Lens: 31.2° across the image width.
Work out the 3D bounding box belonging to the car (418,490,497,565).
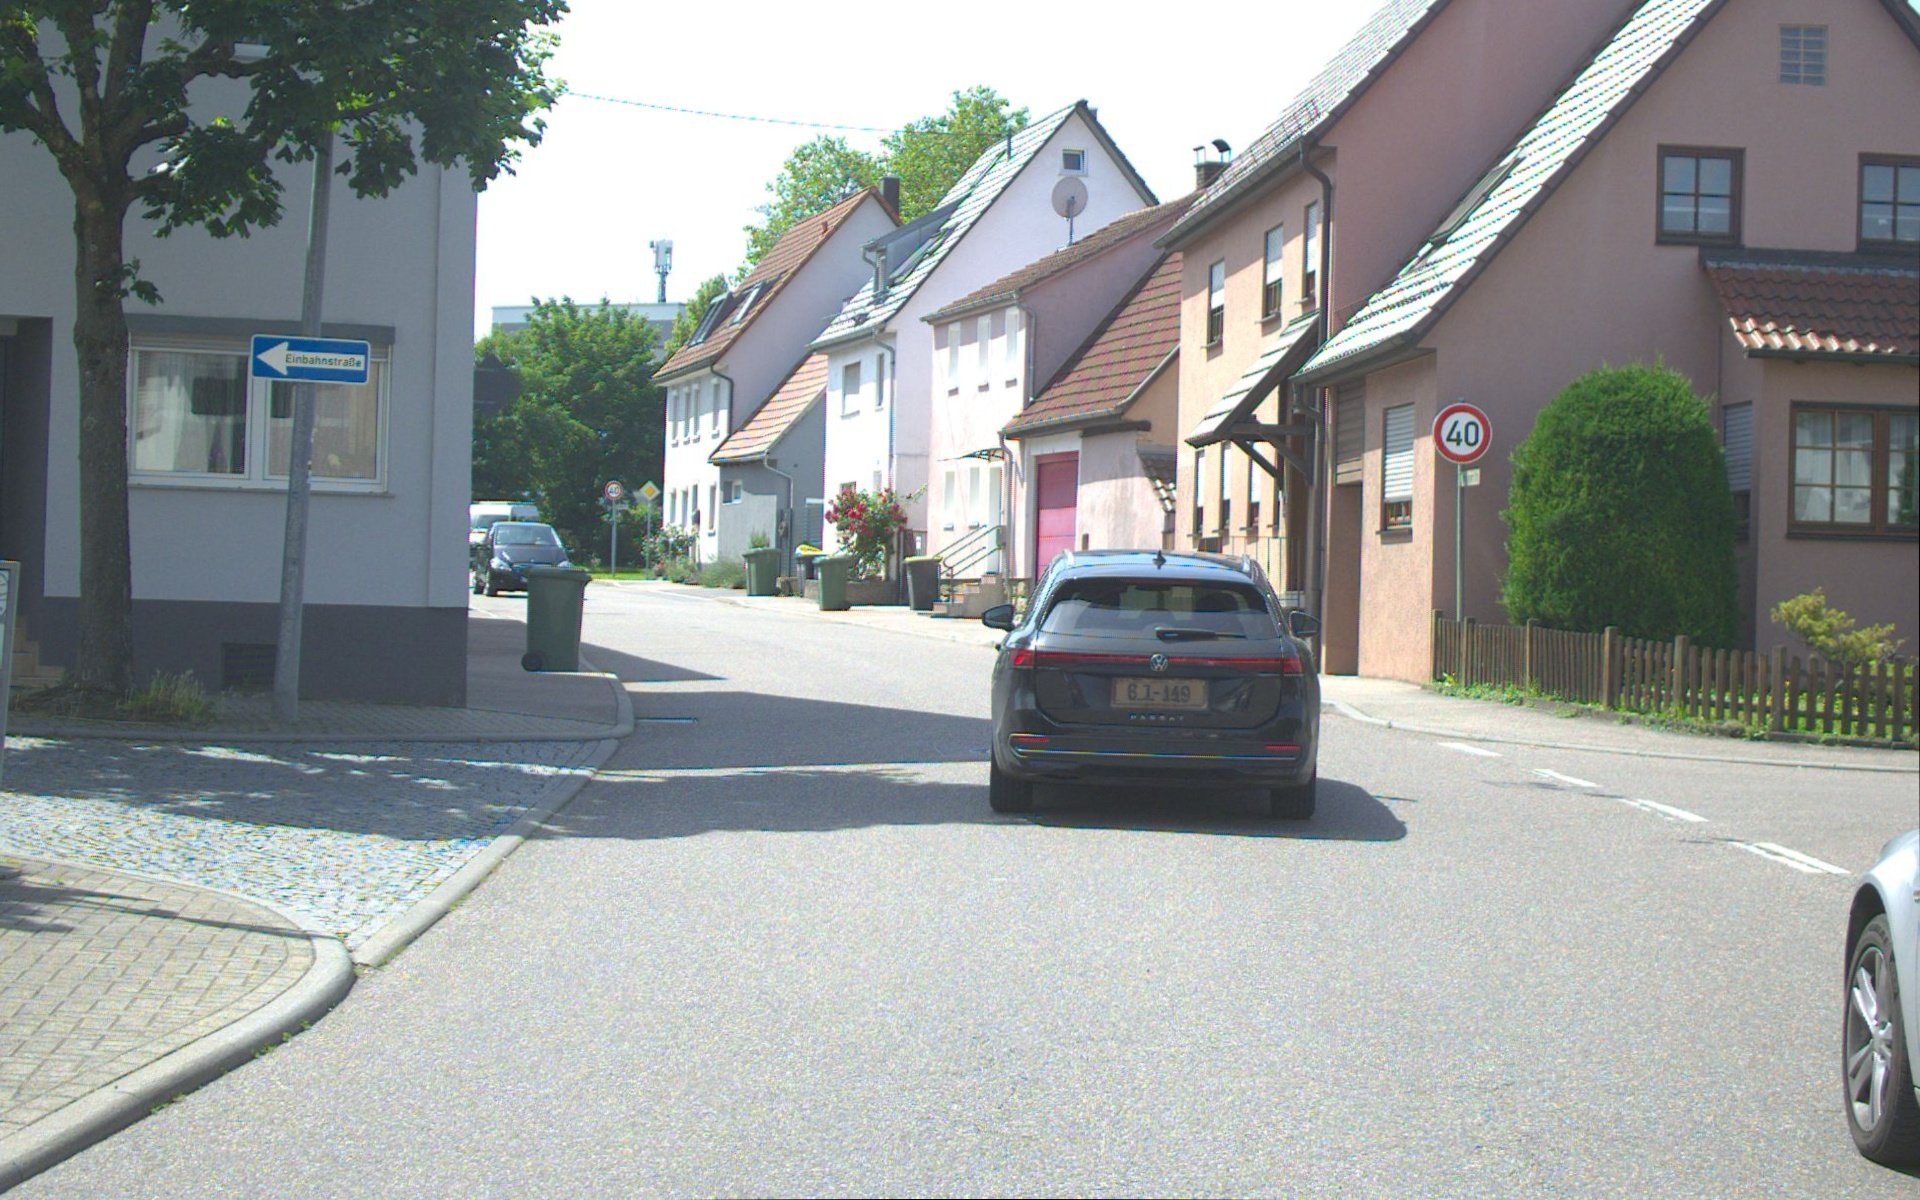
[{"bbox_3d":[-17.753,-2.585,121.723,2.114,2.554,5.828,1,2,-2],"label":"car"}]

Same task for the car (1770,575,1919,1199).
[{"bbox_3d":[3.093,0.745,7.170,1.785,1.437,4.337,3,1,1],"label":"car"}]

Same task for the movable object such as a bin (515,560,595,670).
[{"bbox_3d":[-4.066,0.141,34.513,0.753,1.056,0.680,2,2,-7],"label":"movable object such as a bin"}]

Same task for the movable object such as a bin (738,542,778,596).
[{"bbox_3d":[-4.502,-0.687,76.538,0.678,1.151,0.820,2,1,-17],"label":"movable object such as a bin"}]

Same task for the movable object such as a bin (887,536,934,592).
[{"bbox_3d":[-0.964,-0.699,66.850,0.678,1.046,0.835,-3,2,-17],"label":"movable object such as a bin"}]

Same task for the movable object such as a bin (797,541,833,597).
[{"bbox_3d":[-3.193,-0.686,75.741,0.664,1.190,0.588,2,1,-13],"label":"movable object such as a bin"}]

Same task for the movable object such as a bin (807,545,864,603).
[{"bbox_3d":[-2.453,-0.520,67.510,0.875,1.071,0.873,-3,3,-17],"label":"movable object such as a bin"}]

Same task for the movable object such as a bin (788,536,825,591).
[{"bbox_3d":[-3.430,-0.811,76.688,0.664,1.190,0.660,2,1,-13],"label":"movable object such as a bin"}]

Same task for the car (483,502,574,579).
[{"bbox_3d":[-9.177,-1.276,72.927,1.799,1.550,4.072,0,2,-9],"label":"car"}]

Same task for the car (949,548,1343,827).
[{"bbox_3d":[1.209,0.445,20.009,1.842,1.415,4.680,0,0,9],"label":"car"}]
